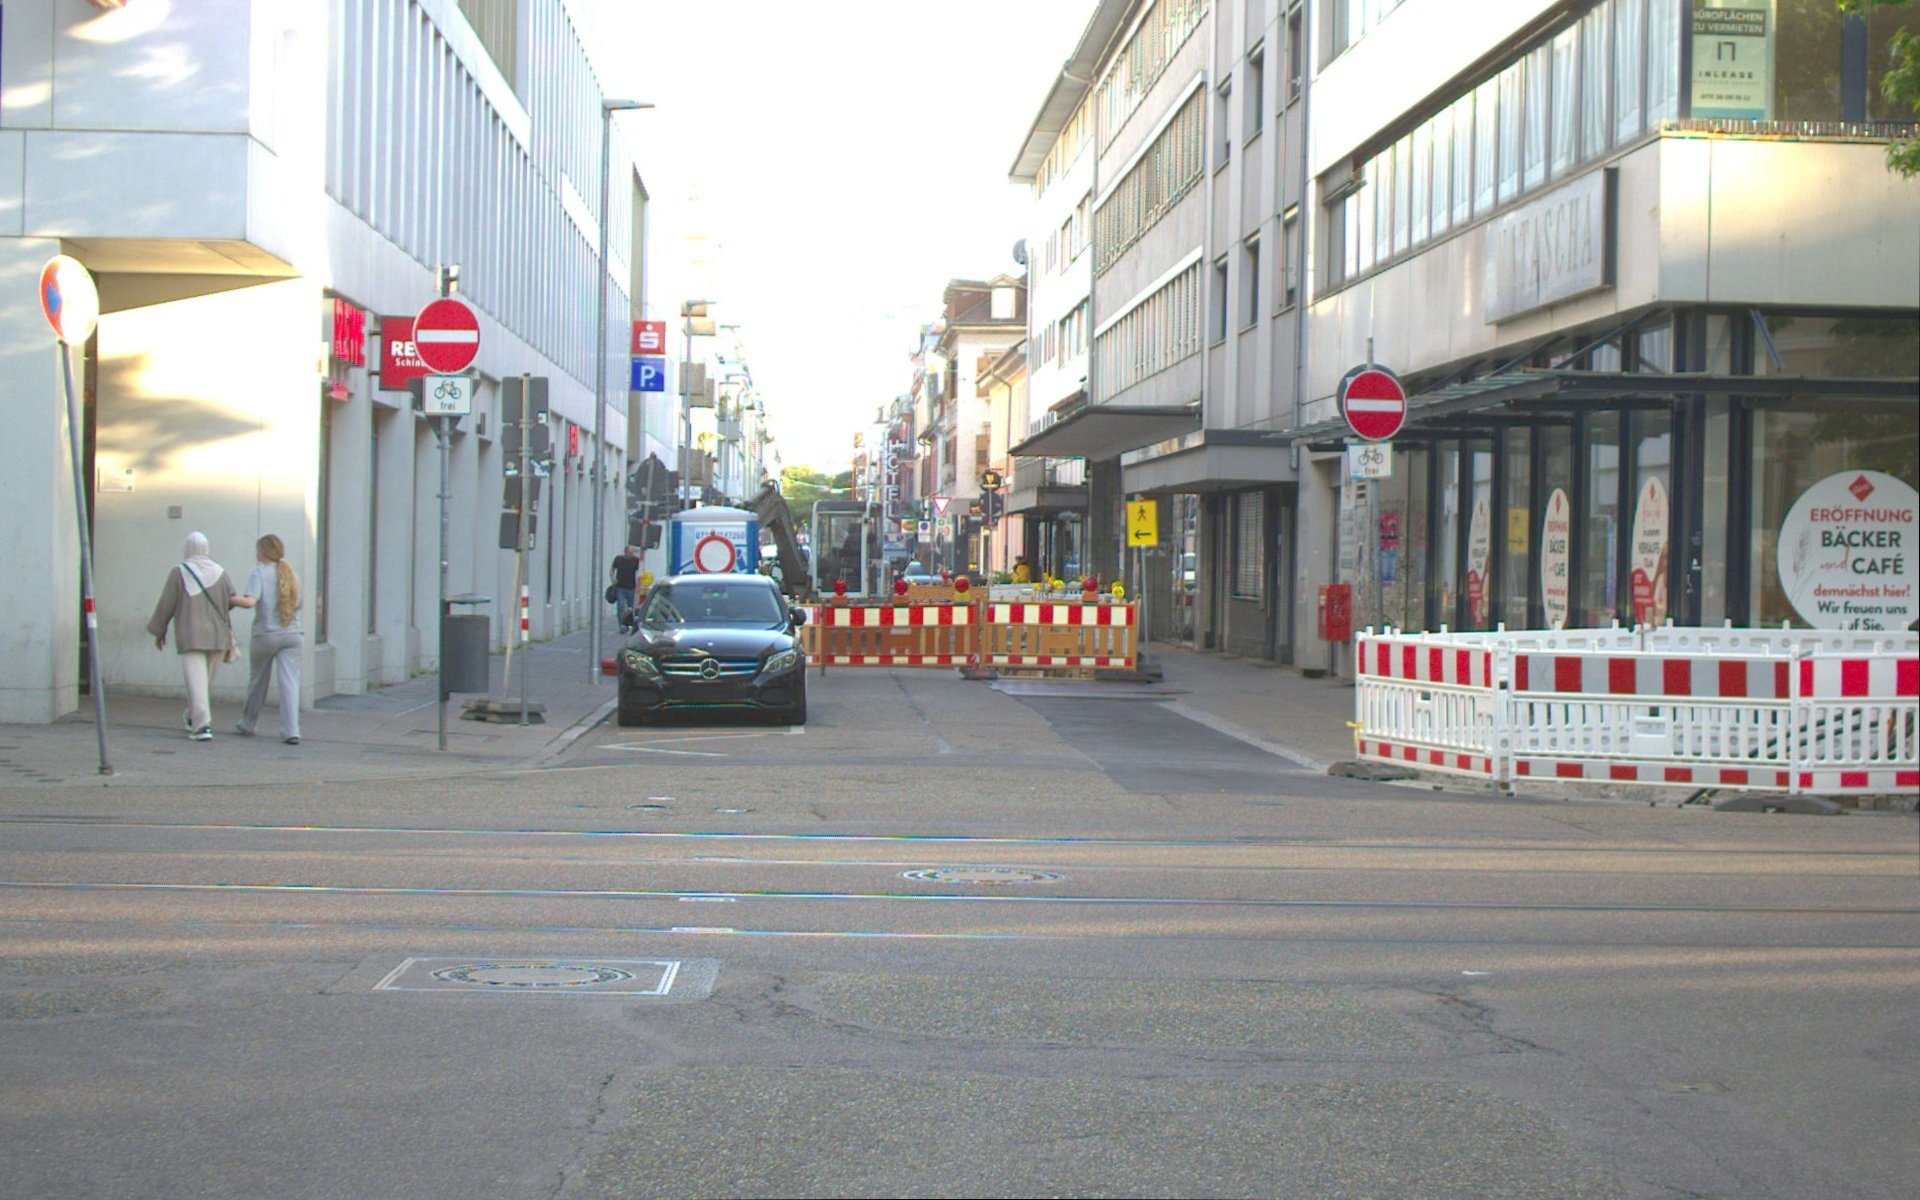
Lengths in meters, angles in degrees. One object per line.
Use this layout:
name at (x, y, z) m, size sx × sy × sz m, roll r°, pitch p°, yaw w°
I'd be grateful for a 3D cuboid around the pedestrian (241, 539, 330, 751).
pedestrian at (-5.269, 0.340, 26.850) m, size 0.609 × 1.622 × 0.873 m, roll 0°, pitch 1°, yaw -16°

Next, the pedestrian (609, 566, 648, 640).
pedestrian at (-6.631, 0.058, 68.732) m, size 0.716 × 1.459 × 0.525 m, roll 0°, pitch 1°, yaw 0°

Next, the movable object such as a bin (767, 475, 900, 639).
movable object such as a bin at (-2.185, -0.733, 58.867) m, size 2.156 × 2.654 × 4.573 m, roll 1°, pitch 1°, yaw -3°

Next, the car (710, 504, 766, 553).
car at (-8.276, -2.646, 128.284) m, size 1.993 × 1.770 × 4.000 m, roll 0°, pitch 1°, yaw -2°

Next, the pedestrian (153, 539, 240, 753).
pedestrian at (-5.906, 0.344, 26.575) m, size 0.609 × 1.622 × 0.873 m, roll 0°, pitch 1°, yaw -16°

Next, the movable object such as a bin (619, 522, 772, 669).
movable object such as a bin at (-3.711, -0.086, 48.886) m, size 1.993 × 2.007 × 4.000 m, roll 0°, pitch 1°, yaw -2°

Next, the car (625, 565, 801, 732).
car at (-2.463, 0.438, 33.699) m, size 1.629 × 1.545 × 3.143 m, roll 0°, pitch 1°, yaw -6°

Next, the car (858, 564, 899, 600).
car at (-4.094, -0.925, 172.842) m, size 1.993 × 1.770 × 4.000 m, roll 0°, pitch 1°, yaw -2°

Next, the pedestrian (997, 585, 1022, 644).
pedestrian at (1.228, 0.360, 85.656) m, size 0.524 × 1.459 × 0.718 m, roll 1°, pitch 0°, yaw 6°
